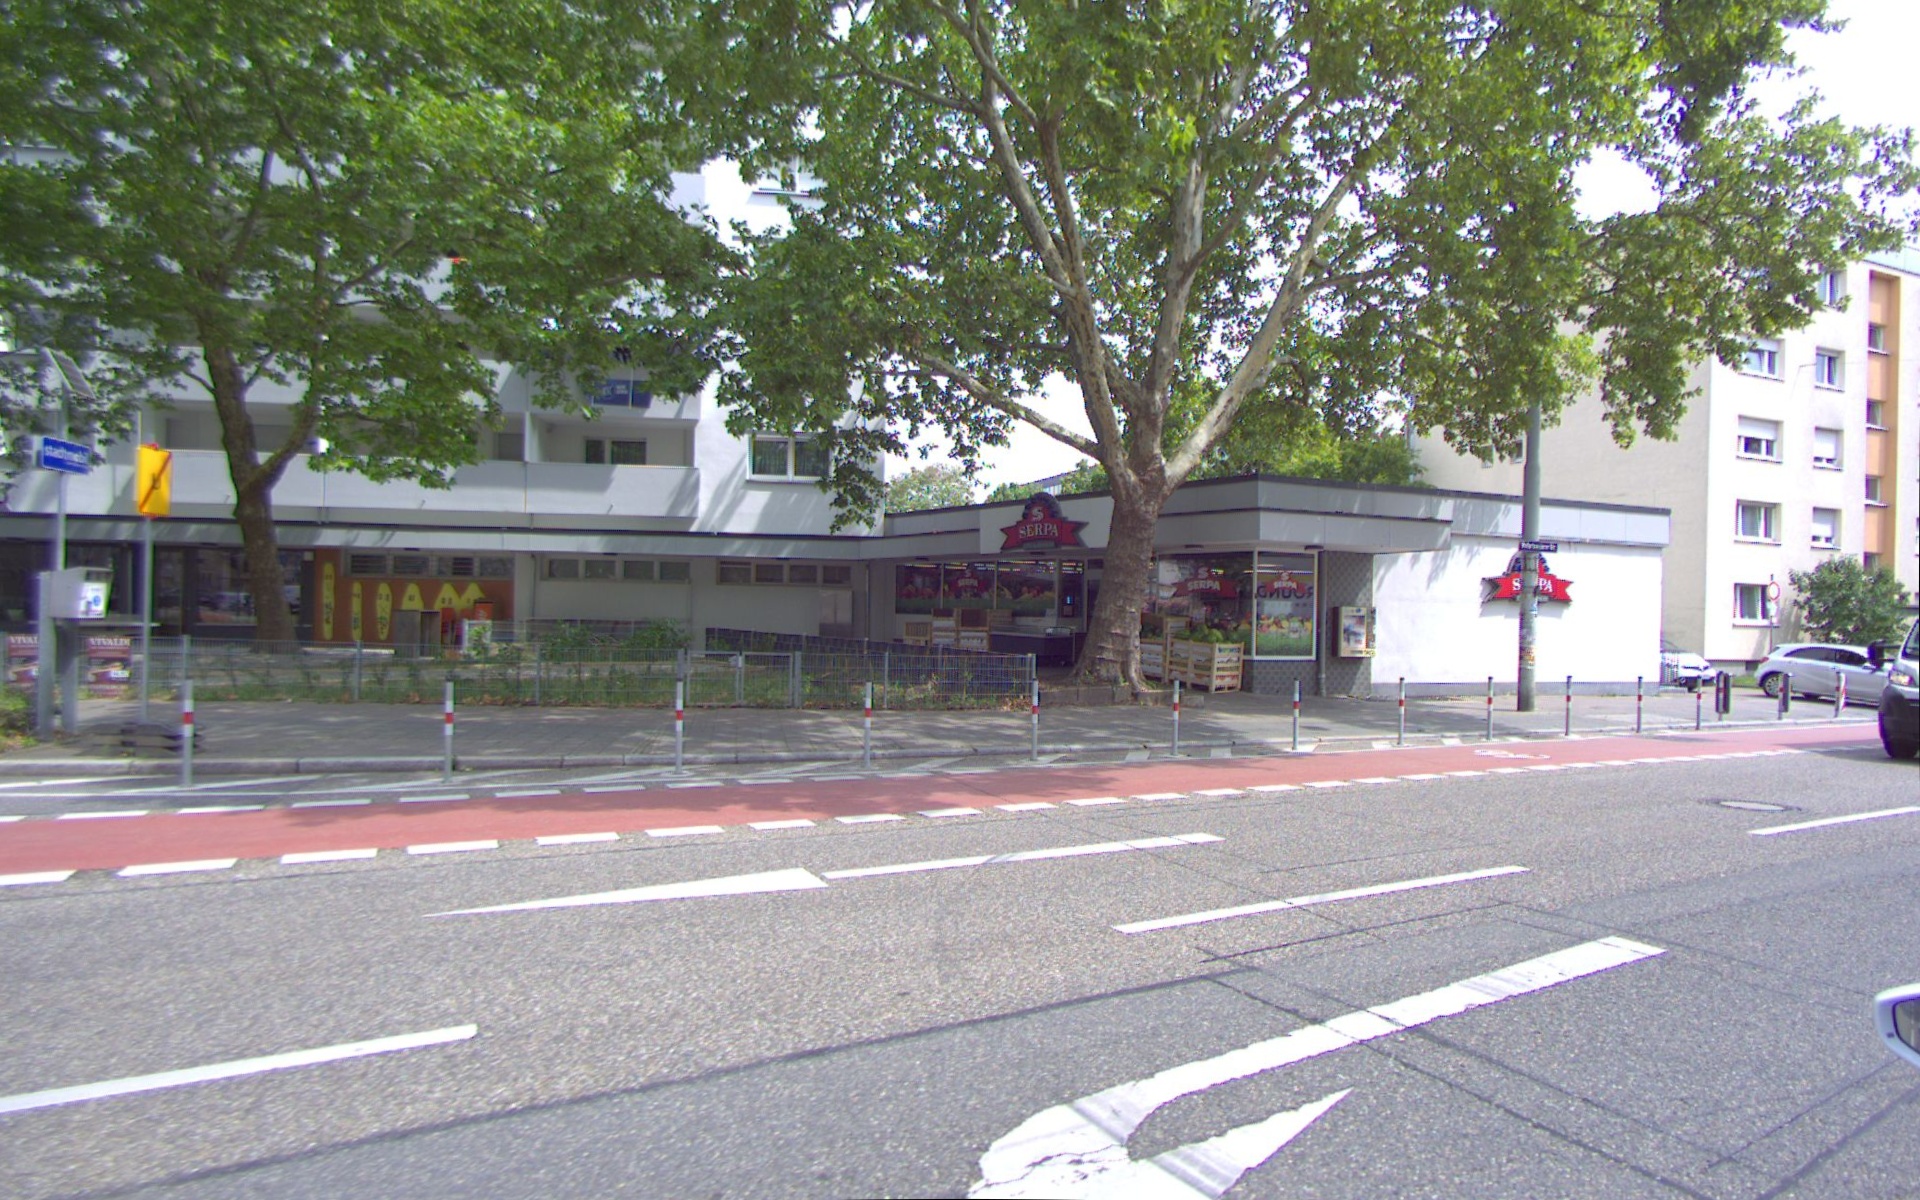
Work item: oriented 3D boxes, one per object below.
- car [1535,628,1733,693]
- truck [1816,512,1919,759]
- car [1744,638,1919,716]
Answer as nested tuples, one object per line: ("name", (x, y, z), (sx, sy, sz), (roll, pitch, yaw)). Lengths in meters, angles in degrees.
("car", (19.300, 1.685, 29.037), (1.820, 1.708, 4.627), (1, -2, -19))
("truck", (15.403, 0.537, 14.078), (6.925, 3.148, 2.534), (2, -3, -25))
("car", (22.131, 1.854, 24.630), (1.823, 1.470, 4.161), (2, 2, -23))
